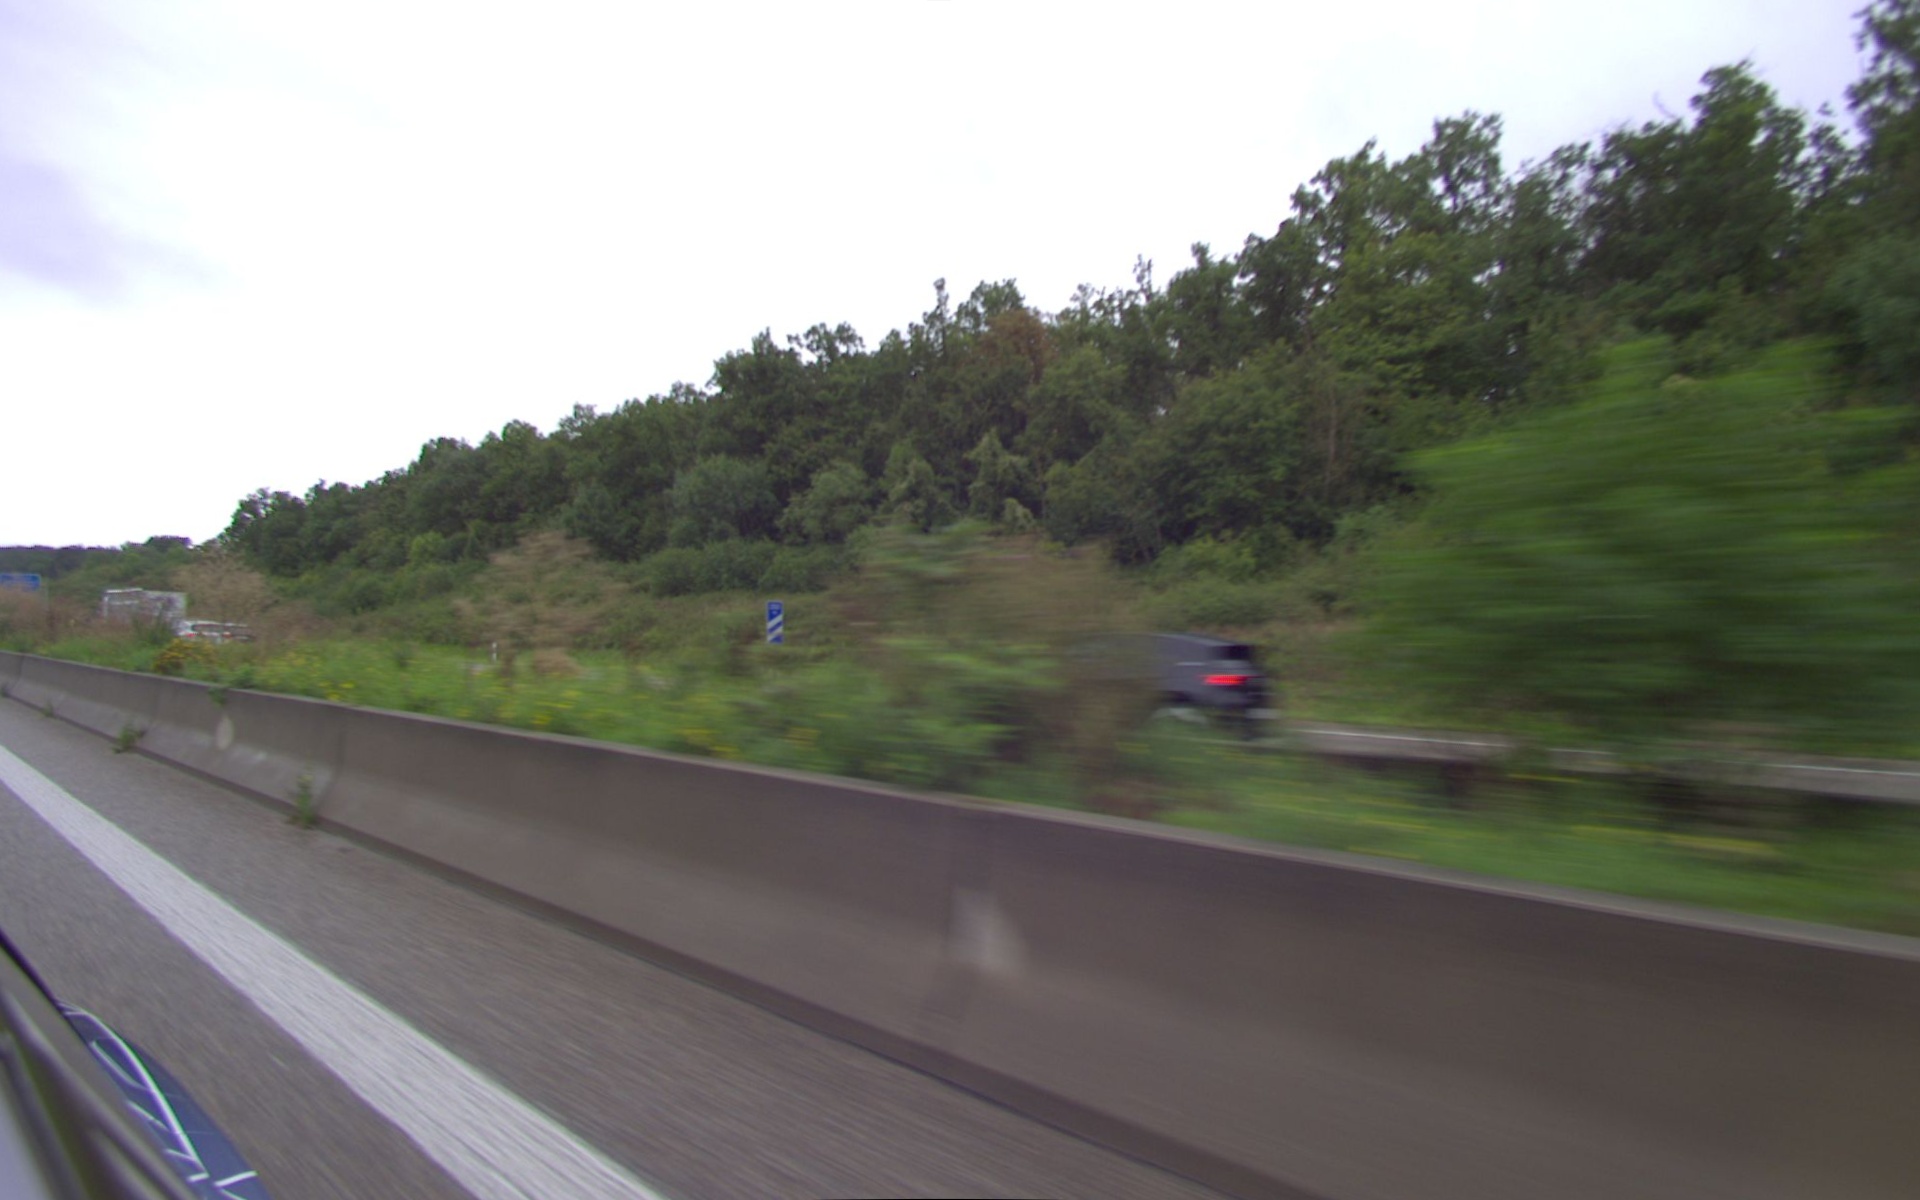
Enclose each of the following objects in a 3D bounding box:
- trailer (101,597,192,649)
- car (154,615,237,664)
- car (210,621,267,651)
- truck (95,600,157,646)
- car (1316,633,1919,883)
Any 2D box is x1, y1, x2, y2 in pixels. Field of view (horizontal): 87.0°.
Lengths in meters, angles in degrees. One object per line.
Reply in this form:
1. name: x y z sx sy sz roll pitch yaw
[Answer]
1. trailer: -59.812 1.692 74.222 13.251 3.512 2.956 -1 -2 42
2. car: -33.803 1.722 44.720 4.653 2.029 1.973 -1 -3 41
3. car: -41.332 2.043 57.960 3.998 1.614 1.757 -1 -2 41
4. truck: -65.053 1.795 78.910 4.768 3.494 2.960 -1 -2 42
5. car: 5.896 1.205 9.395 4.491 1.736 1.973 -1 -1 40
